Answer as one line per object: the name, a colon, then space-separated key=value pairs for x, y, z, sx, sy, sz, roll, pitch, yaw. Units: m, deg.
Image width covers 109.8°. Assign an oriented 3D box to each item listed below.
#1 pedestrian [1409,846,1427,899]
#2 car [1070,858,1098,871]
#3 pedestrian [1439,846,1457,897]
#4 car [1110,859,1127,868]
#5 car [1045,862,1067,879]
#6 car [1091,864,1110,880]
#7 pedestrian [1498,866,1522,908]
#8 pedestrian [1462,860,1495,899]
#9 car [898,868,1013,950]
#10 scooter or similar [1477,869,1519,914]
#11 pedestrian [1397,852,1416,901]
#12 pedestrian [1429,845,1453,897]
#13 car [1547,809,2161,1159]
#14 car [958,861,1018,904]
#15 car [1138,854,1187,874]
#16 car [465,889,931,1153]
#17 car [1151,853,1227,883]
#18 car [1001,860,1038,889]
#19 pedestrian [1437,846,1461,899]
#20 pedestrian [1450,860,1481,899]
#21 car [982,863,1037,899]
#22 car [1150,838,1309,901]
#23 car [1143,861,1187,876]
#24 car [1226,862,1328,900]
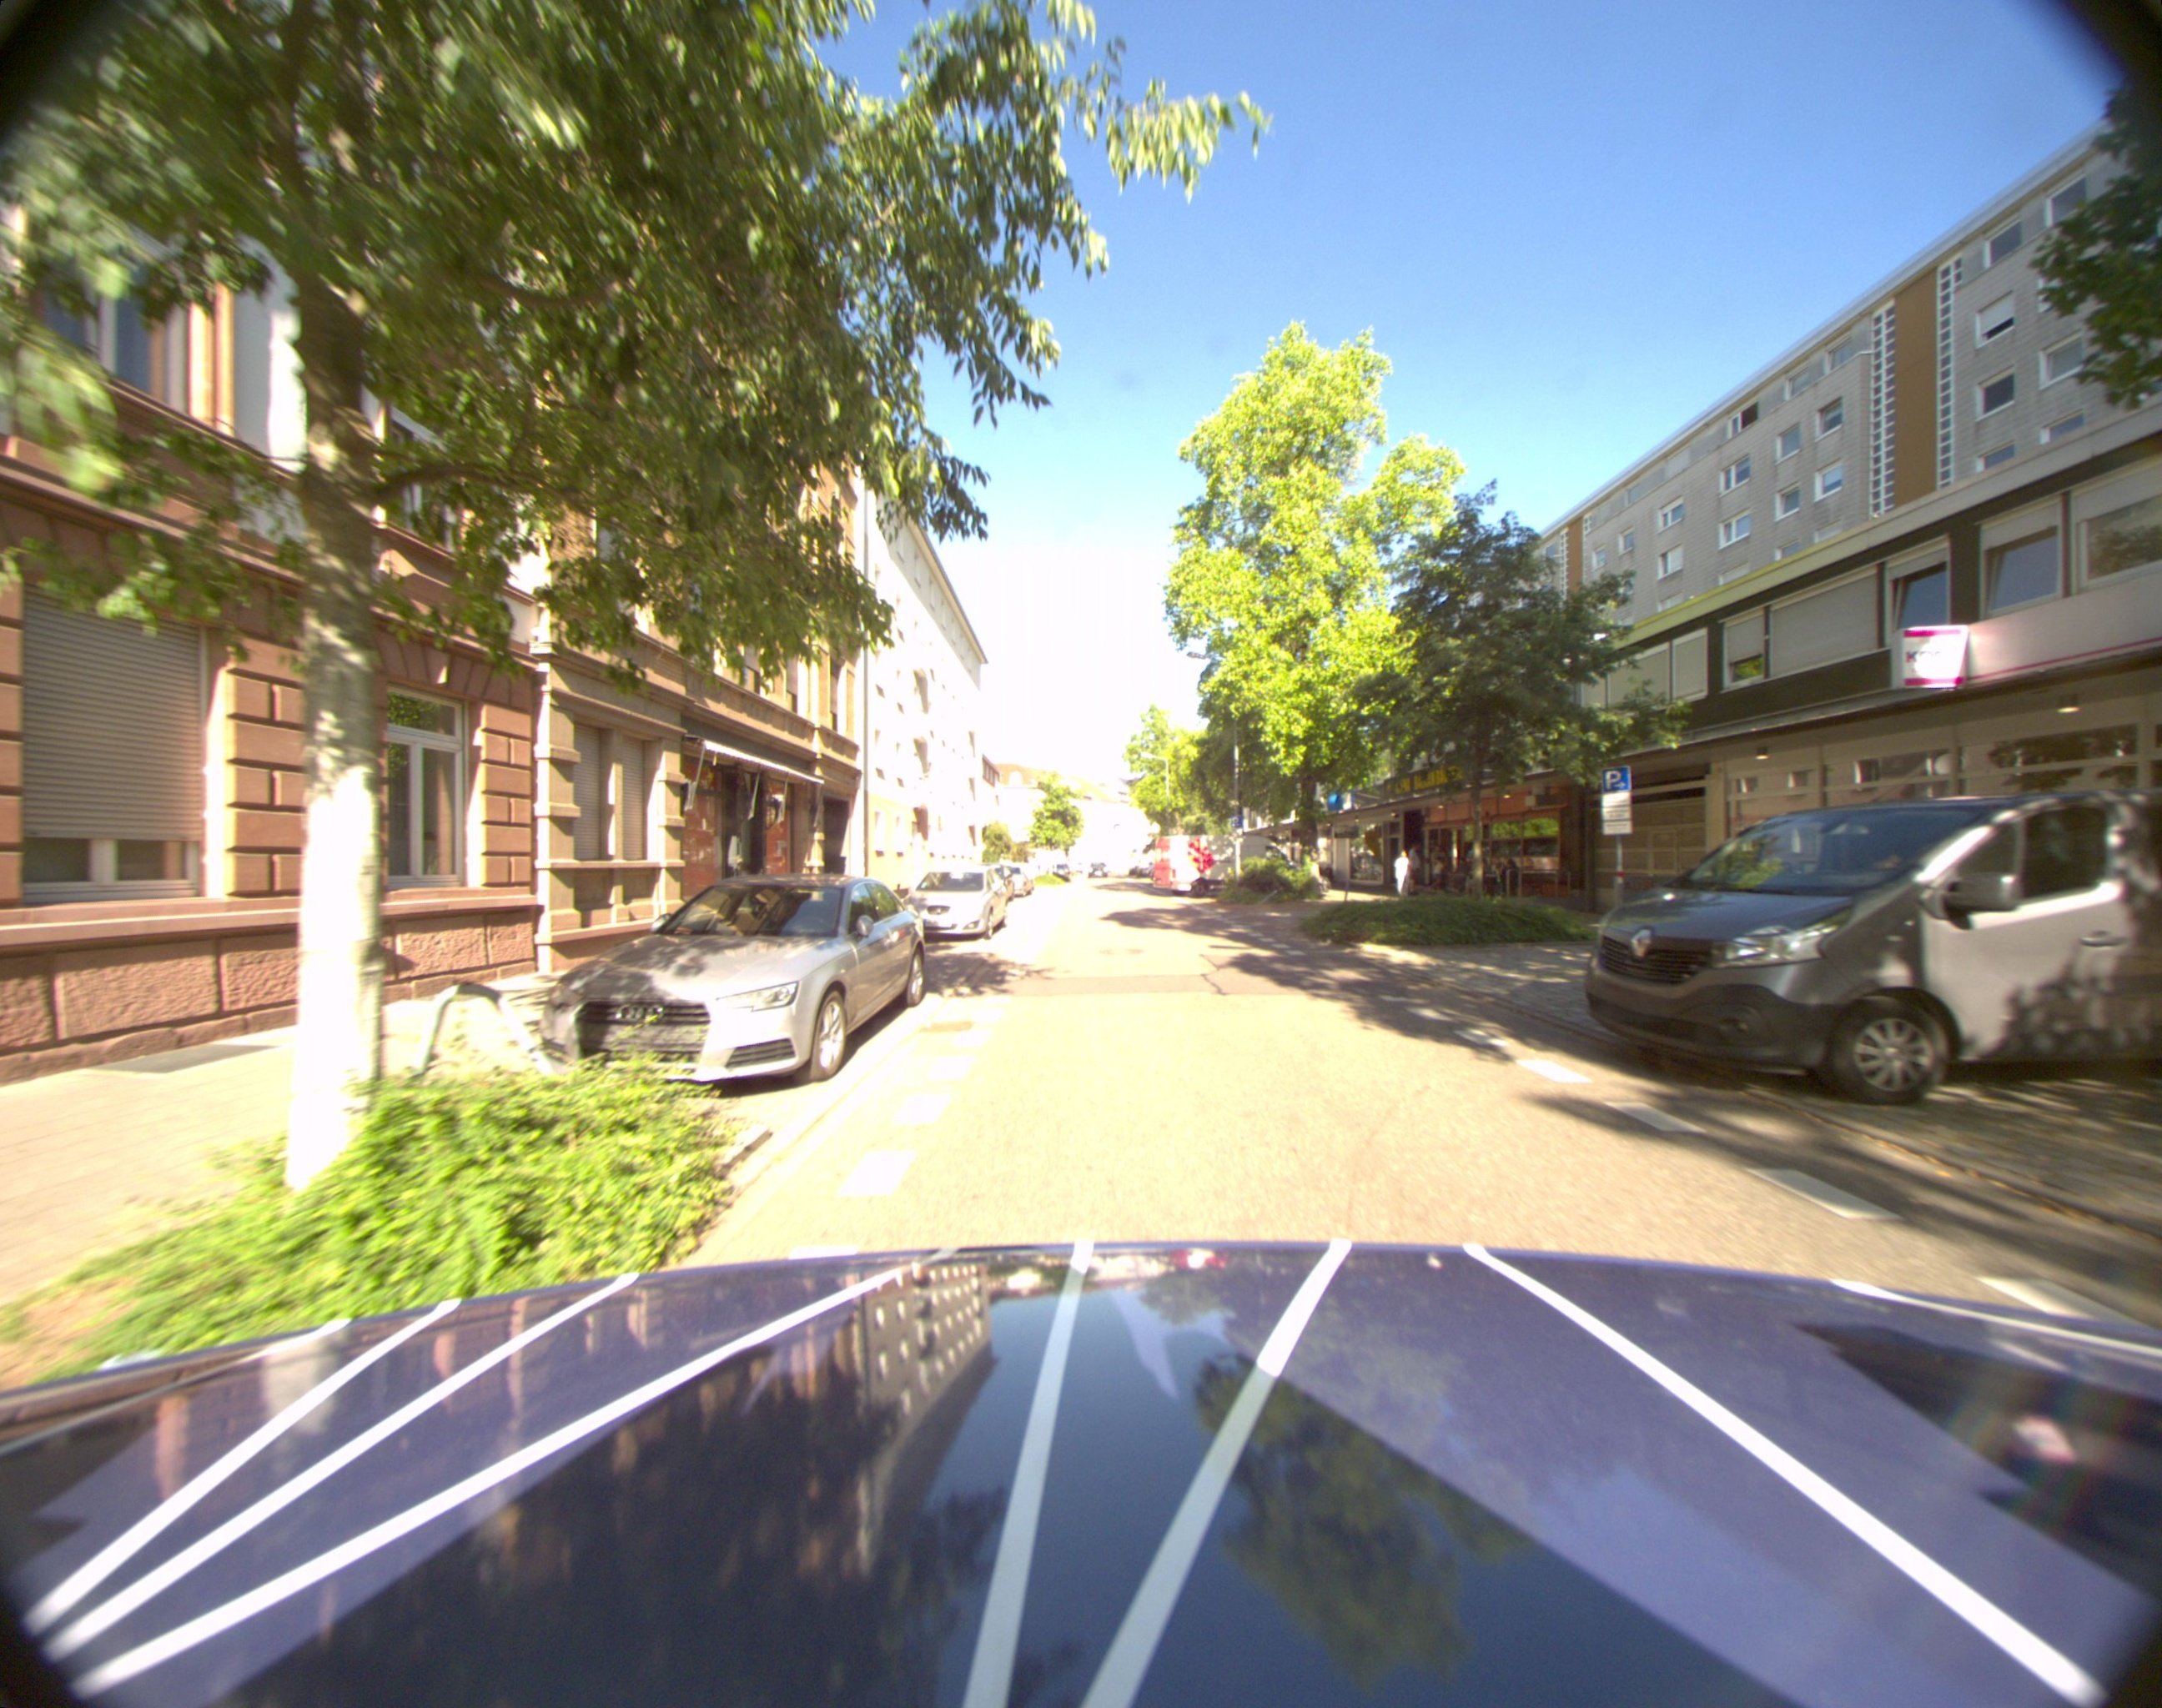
pedestrian: x=12.366 y=0.680 z=27.897 sx=0.599 sy=1.923 sz=0.588 roll=0 pitch=0 yaw=22
car: x=0.462 y=1.482 z=108.345 sx=1.908 sy=1.924 sz=4.818 roll=-1 pitch=0 yaw=27
pedestrian: x=13.961 y=0.662 z=28.898 sx=0.454 sy=1.892 sz=0.492 roll=0 pitch=0 yaw=-1
car: x=6.082 y=1.473 z=123.227 sx=1.632 sy=1.412 sz=3.300 roll=0 pitch=0 yaw=24
car: x=-2.155 y=1.438 z=66.907 sx=1.720 sy=1.445 sz=4.000 roll=0 pitch=0 yaw=1
car: x=1.809 y=1.684 z=71.395 sx=1.612 sy=1.444 sz=3.295 roll=0 pitch=0 yaw=0
pedestrian: x=12.951 y=0.997 z=22.946 sx=0.329 sy=1.233 sz=0.636 roll=0 pitch=0 yaw=-2
pedestrian: x=13.084 y=0.816 z=25.025 sx=0.609 sy=1.256 sz=0.898 roll=-1 pitch=0 yaw=-2
car: x=-2.495 y=1.053 z=15.991 sx=1.743 sy=1.443 sz=4.000 roll=0 pitch=0 yaw=0
scooter or similar: x=12.048 y=1.059 z=21.957 sx=1.320 sy=1.216 sz=0.456 roll=-2 pitch=1 yaw=-33
pedestrian: x=11.538 y=0.789 z=26.958 sx=0.599 sy=1.701 sz=0.588 roll=0 pitch=0 yaw=22
pedestrian: x=13.406 y=0.633 z=28.315 sx=0.596 sy=1.892 sz=0.579 roll=0 pitch=0 yaw=-1
car: x=6.584 y=0.722 z=5.375 sx=5.305 sy=1.962 sz=2.015 roll=-1 pitch=0 yaw=0
car: x=-3.387 y=1.006 z=28.185 sx=1.713 sy=1.471 sz=3.711 roll=-1 pitch=0 yaw=1
car: x=8.894 y=1.095 z=83.152 sx=4.995 sy=1.958 sz=1.909 roll=-2 pitch=0 yaw=-1
car: x=-2.572 y=1.034 z=6.422 sx=1.743 sy=1.442 sz=4.309 roll=0 pitch=-2 yaw=0
car: x=7.561 y=0.992 z=53.494 sx=5.043 sy=1.927 sz=1.873 roll=-2 pitch=0 yaw=0
car: x=-3.325 y=1.081 z=41.825 sx=1.735 sy=1.477 sz=3.795 roll=1 pitch=0 yaw=0
pedestrian: x=13.414 y=0.669 z=27.682 sx=0.596 sy=1.892 sz=0.579 roll=0 pitch=0 yaw=-1
pedestrian: x=13.509 y=0.901 z=26.721 sx=0.565 sy=1.333 sz=0.954 roll=-1 pitch=0 yaw=-2
car: x=-3.088 y=1.134 z=33.792 sx=1.790 sy=1.451 sz=4.517 roll=1 pitch=0 yaw=3
car: x=6.393 y=0.616 z=32.564 sx=6.610 sy=2.459 sz=1.997 roll=-1 pitch=0 yaw=-20
car: x=8.053 y=1.417 z=73.321 sx=3.997 sy=1.390 sz=1.759 roll=0 pitch=0 yaw=-1
car: x=7.782 y=1.066 z=30.430 sx=3.603 sy=1.412 sz=1.831 roll=-1 pitch=0 yaw=0
